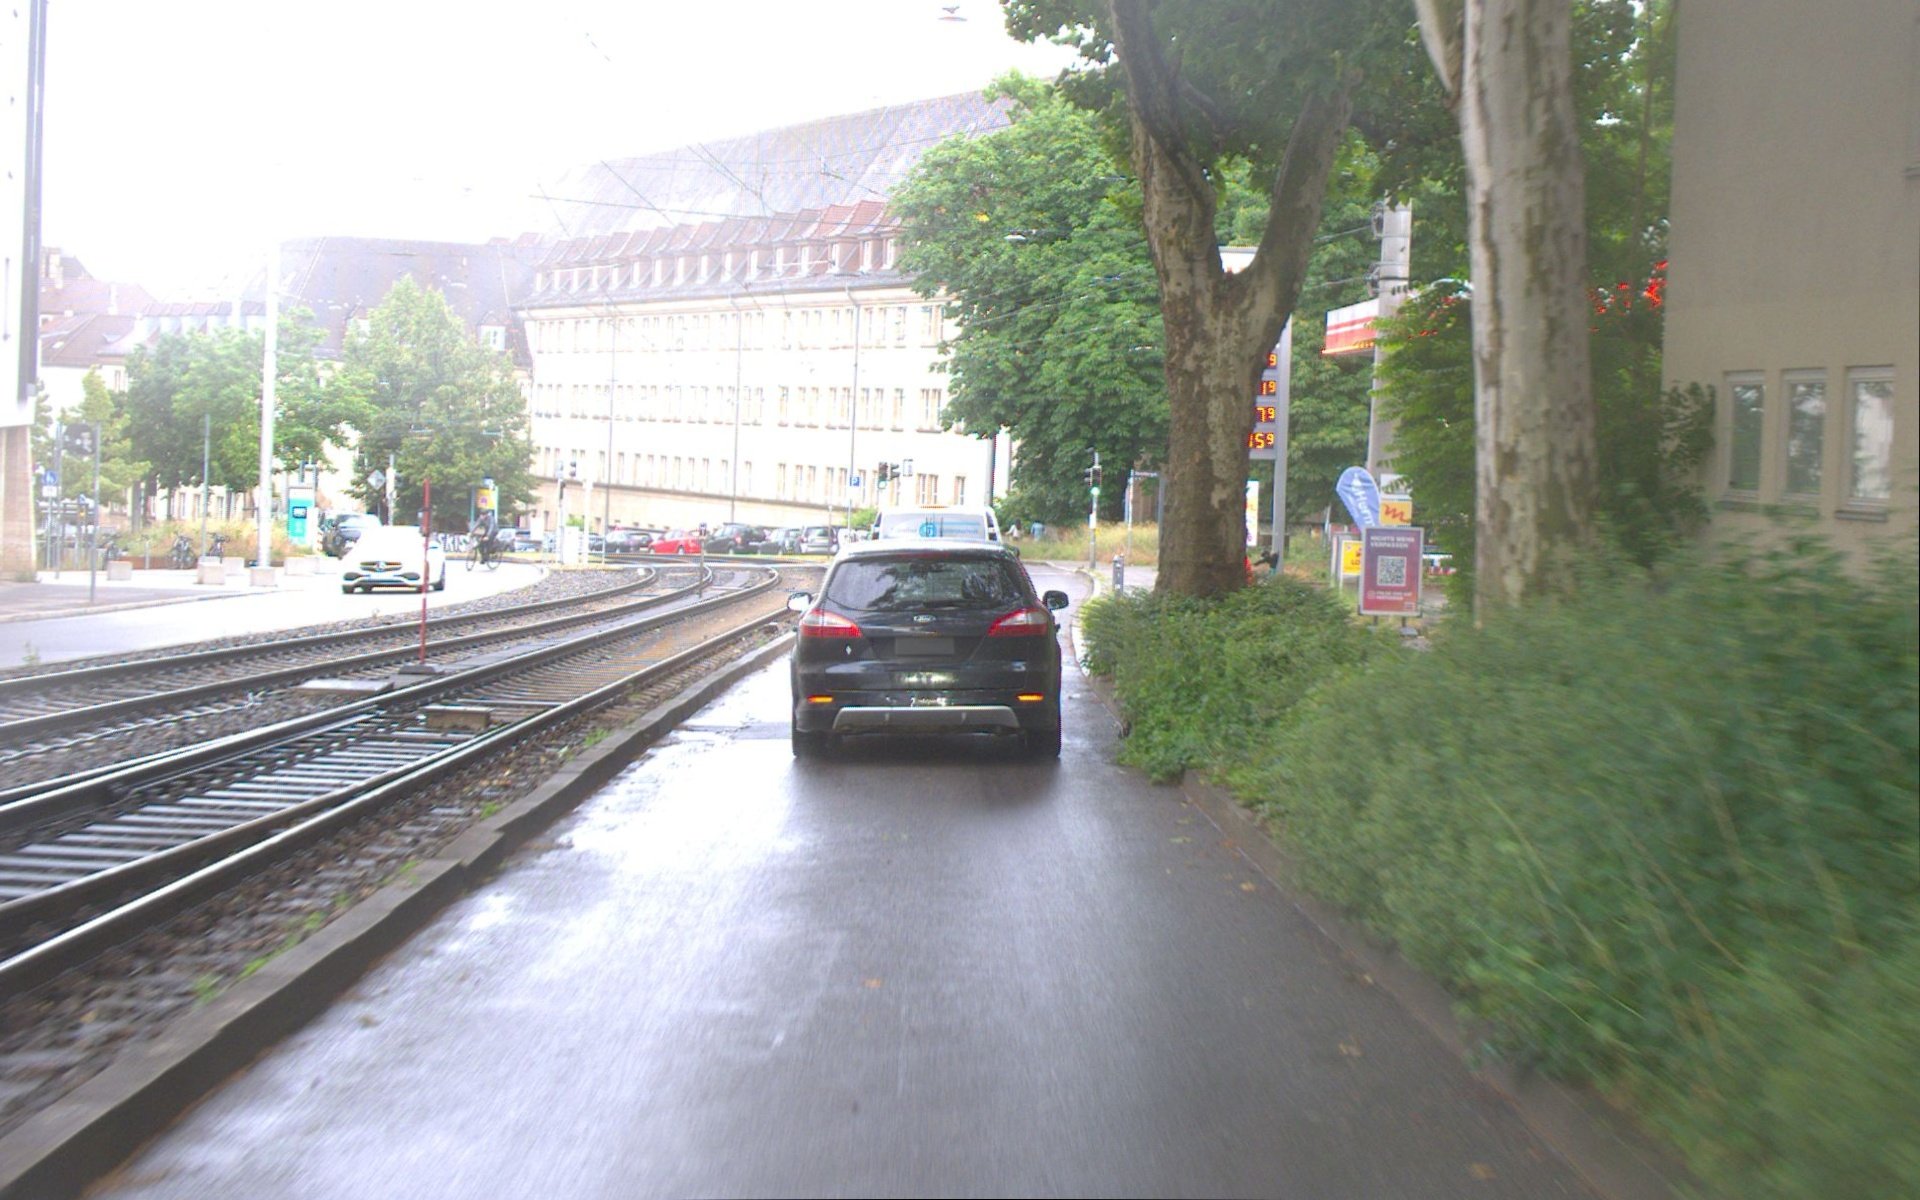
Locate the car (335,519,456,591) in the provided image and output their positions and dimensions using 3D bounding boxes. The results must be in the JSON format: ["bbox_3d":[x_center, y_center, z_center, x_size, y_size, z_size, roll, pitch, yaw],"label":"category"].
[{"bbox_3d":[-12.302,-0.999,75.194,1.799,1.477,4.840,1,1,0],"label":"car"}]

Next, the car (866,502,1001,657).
[{"bbox_3d":[-0.332,-0.310,47.540,1.740,2.007,3.904,2,1,1],"label":"car"}]

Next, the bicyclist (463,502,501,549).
[{"bbox_3d":[-13.421,-2.097,96.505,0.772,1.309,0.791,-1,2,-37],"label":"bicyclist"}]

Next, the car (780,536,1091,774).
[{"bbox_3d":[-0.221,0.314,24.170,1.933,1.448,4.318,2,1,-2],"label":"car"}]

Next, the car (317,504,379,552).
[{"bbox_3d":[-20.578,-2.409,115.573,1.993,1.537,4.001,1,1,-10],"label":"car"}]

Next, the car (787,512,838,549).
[{"bbox_3d":[-6.220,-2.923,144.644,1.657,1.471,3.645,1,1,-9],"label":"car"}]

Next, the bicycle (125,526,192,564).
[{"bbox_3d":[-23.642,-1.619,101.395,1.813,1.057,0.570,1,1,-3],"label":"bicycle"}]

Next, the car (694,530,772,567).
[{"bbox_3d":[-10.137,-2.298,153.402,1.581,1.537,4.000,1,1,-35],"label":"car"}]

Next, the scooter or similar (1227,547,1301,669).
[{"bbox_3d":[3.145,0.089,35.535,0.374,1.230,1.369,1,-1,21],"label":"scooter or similar"}]

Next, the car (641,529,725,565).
[{"bbox_3d":[-12.738,-2.444,157.853,1.994,1.537,3.999,1,1,-37],"label":"car"}]

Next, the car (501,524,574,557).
[{"bbox_3d":[-20.891,-2.954,169.819,1.993,1.537,4.000,1,1,-33],"label":"car"}]

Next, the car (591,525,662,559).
[{"bbox_3d":[-15.747,-2.745,162.300,1.993,1.537,4.001,-1,2,-28],"label":"car"}]

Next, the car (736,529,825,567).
[{"bbox_3d":[-7.760,-2.246,148.337,1.994,1.537,4.000,1,1,-35],"label":"car"}]
